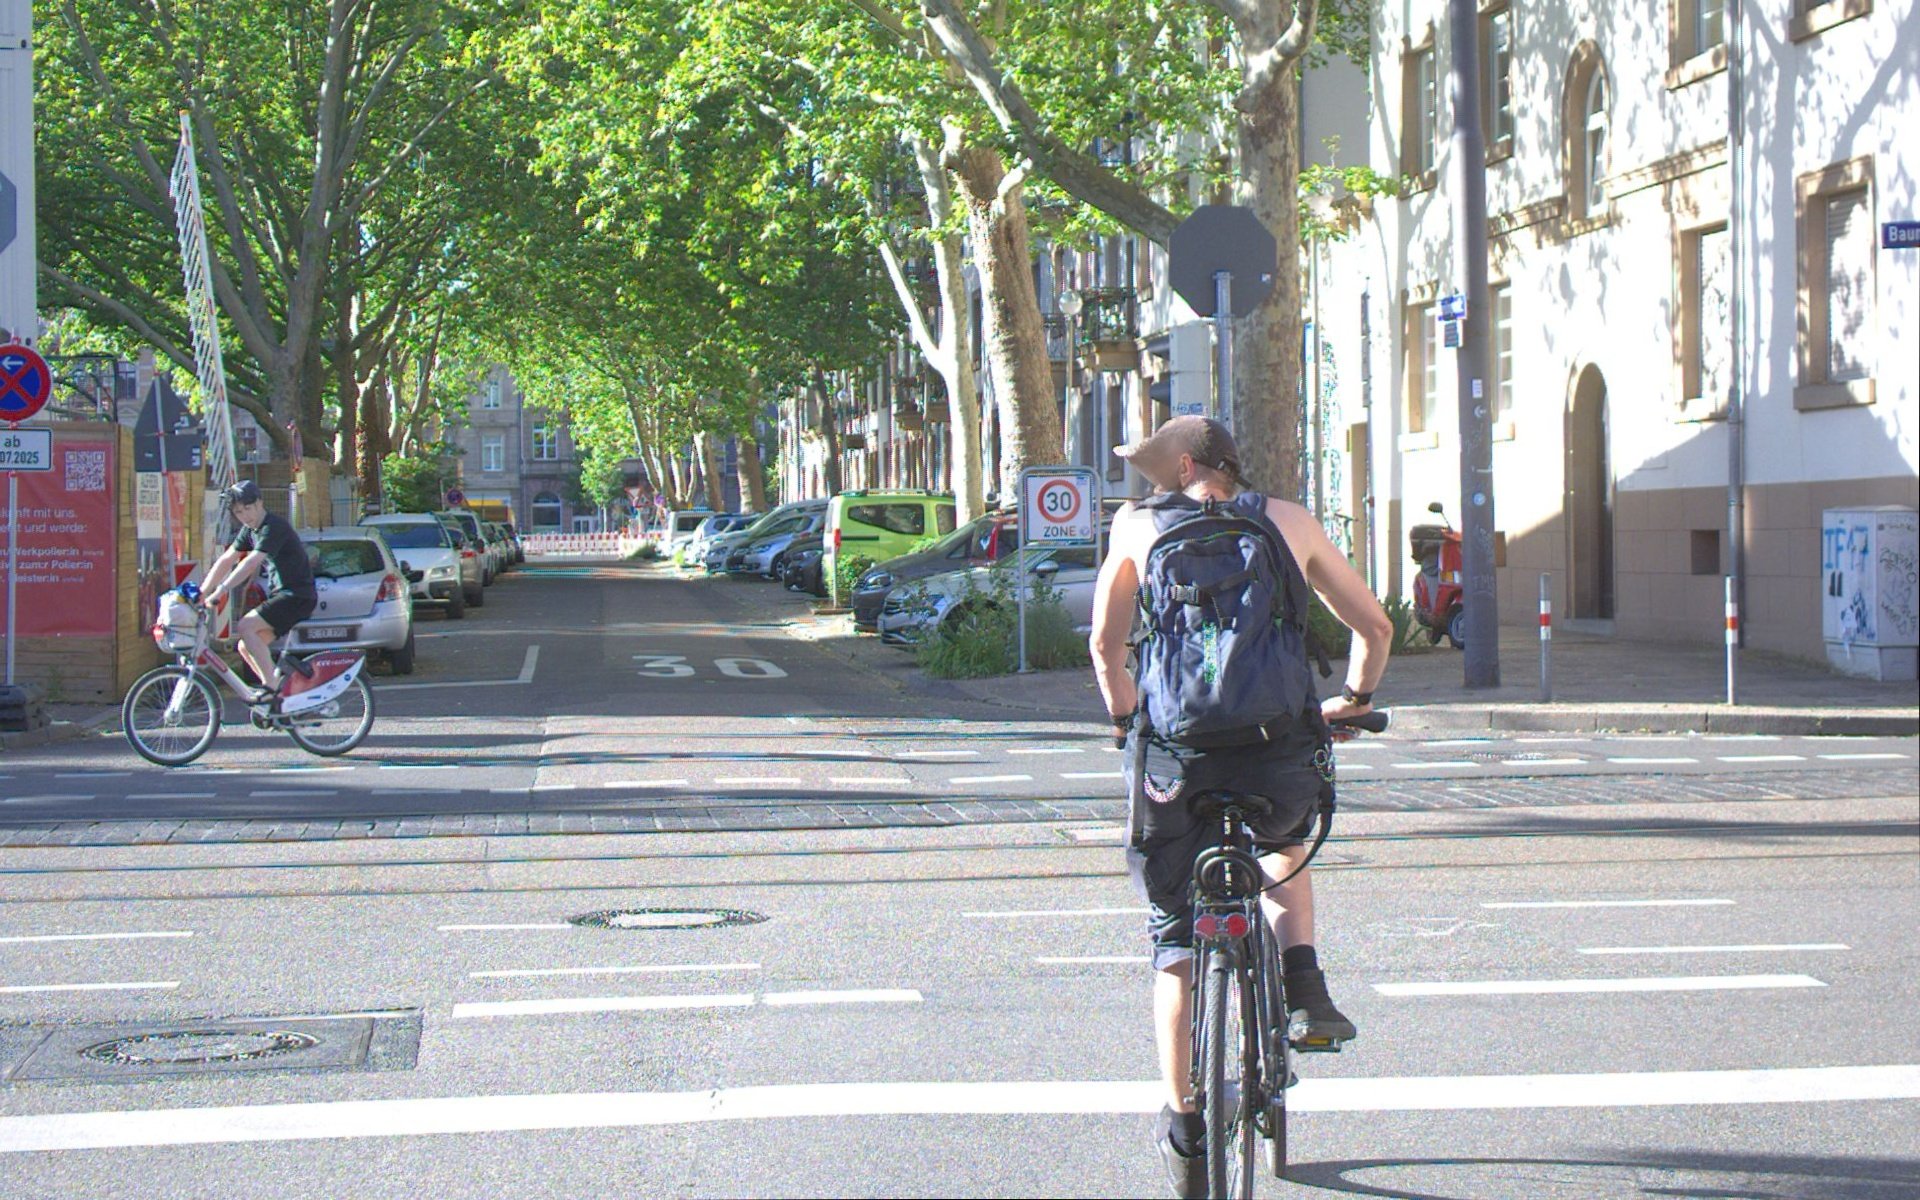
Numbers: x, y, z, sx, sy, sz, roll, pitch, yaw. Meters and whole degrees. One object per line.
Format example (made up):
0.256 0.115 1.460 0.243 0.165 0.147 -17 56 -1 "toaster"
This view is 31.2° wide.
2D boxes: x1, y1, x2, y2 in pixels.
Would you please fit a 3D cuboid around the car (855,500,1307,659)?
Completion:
1.225 -0.236 35.792 4.460 1.565 1.729 -1 2 -7 "car"

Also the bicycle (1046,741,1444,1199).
0.555 0.877 7.368 0.689 1.013 1.907 1 1 0 "bicycle"

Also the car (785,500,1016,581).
-1.211 -1.208 69.049 4.460 1.565 1.729 -1 2 -7 "car"

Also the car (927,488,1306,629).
1.920 -0.536 42.819 4.460 1.665 1.729 -1 2 -7 "car"

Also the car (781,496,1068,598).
-0.605 -0.871 55.696 4.460 1.565 1.729 -1 2 -7 "car"

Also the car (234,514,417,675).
-6.546 -0.106 35.749 1.643 1.489 4.001 -3 2 -8 "car"

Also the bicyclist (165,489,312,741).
-4.860 0.084 23.143 0.809 1.652 0.682 -1 2 -24 "bicyclist"

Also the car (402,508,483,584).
-11.133 -1.183 74.062 1.665 1.557 4.617 -1 2 -8 "car"

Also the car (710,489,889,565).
-4.165 -1.902 88.927 4.460 1.891 1.729 -1 2 -7 "car"

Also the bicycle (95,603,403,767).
-4.791 0.556 23.184 1.915 1.015 0.682 -1 2 -24 "bicycle"

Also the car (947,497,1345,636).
2.171 -0.417 40.749 4.460 1.565 1.729 -1 2 -7 "car"

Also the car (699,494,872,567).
-4.663 -1.857 91.660 4.460 1.891 1.729 -1 2 -7 "car"

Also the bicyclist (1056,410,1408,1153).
0.563 0.364 7.350 0.676 1.507 0.669 1 1 0 "bicyclist"

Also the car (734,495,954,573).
-2.445 -1.403 72.134 4.460 1.565 1.729 -1 2 -7 "car"

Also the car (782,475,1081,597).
-0.466 -1.018 53.678 4.460 1.830 1.729 -1 2 -8 "car"

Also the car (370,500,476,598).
-8.946 -0.883 57.449 1.665 1.557 4.520 -1 2 -8 "car"

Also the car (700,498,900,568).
-3.698 -1.555 79.284 4.460 1.565 1.729 -1 2 -7 "car"

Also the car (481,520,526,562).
-17.865 -2.323 134.409 1.665 1.557 4.220 -1 2 -8 "car"

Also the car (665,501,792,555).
-8.360 -2.610 124.027 4.460 1.891 1.729 -1 2 -7 "car"

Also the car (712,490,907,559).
-3.588 -1.804 81.625 4.460 1.565 1.729 -1 2 -7 "car"

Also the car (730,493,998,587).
-1.684 -1.053 59.540 4.460 1.565 1.729 -1 2 -7 "car"

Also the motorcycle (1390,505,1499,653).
4.489 -0.216 31.967 0.513 1.328 1.764 -1 2 -9 "motorcycle"

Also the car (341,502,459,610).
-8.396 -0.694 51.770 1.665 1.557 4.001 -1 2 -8 "car"

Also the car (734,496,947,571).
-2.601 -1.453 74.607 4.460 1.565 1.729 -1 2 -7 "car"

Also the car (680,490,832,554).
-6.210 -2.380 104.376 4.460 1.891 1.729 -1 2 -7 "car"
